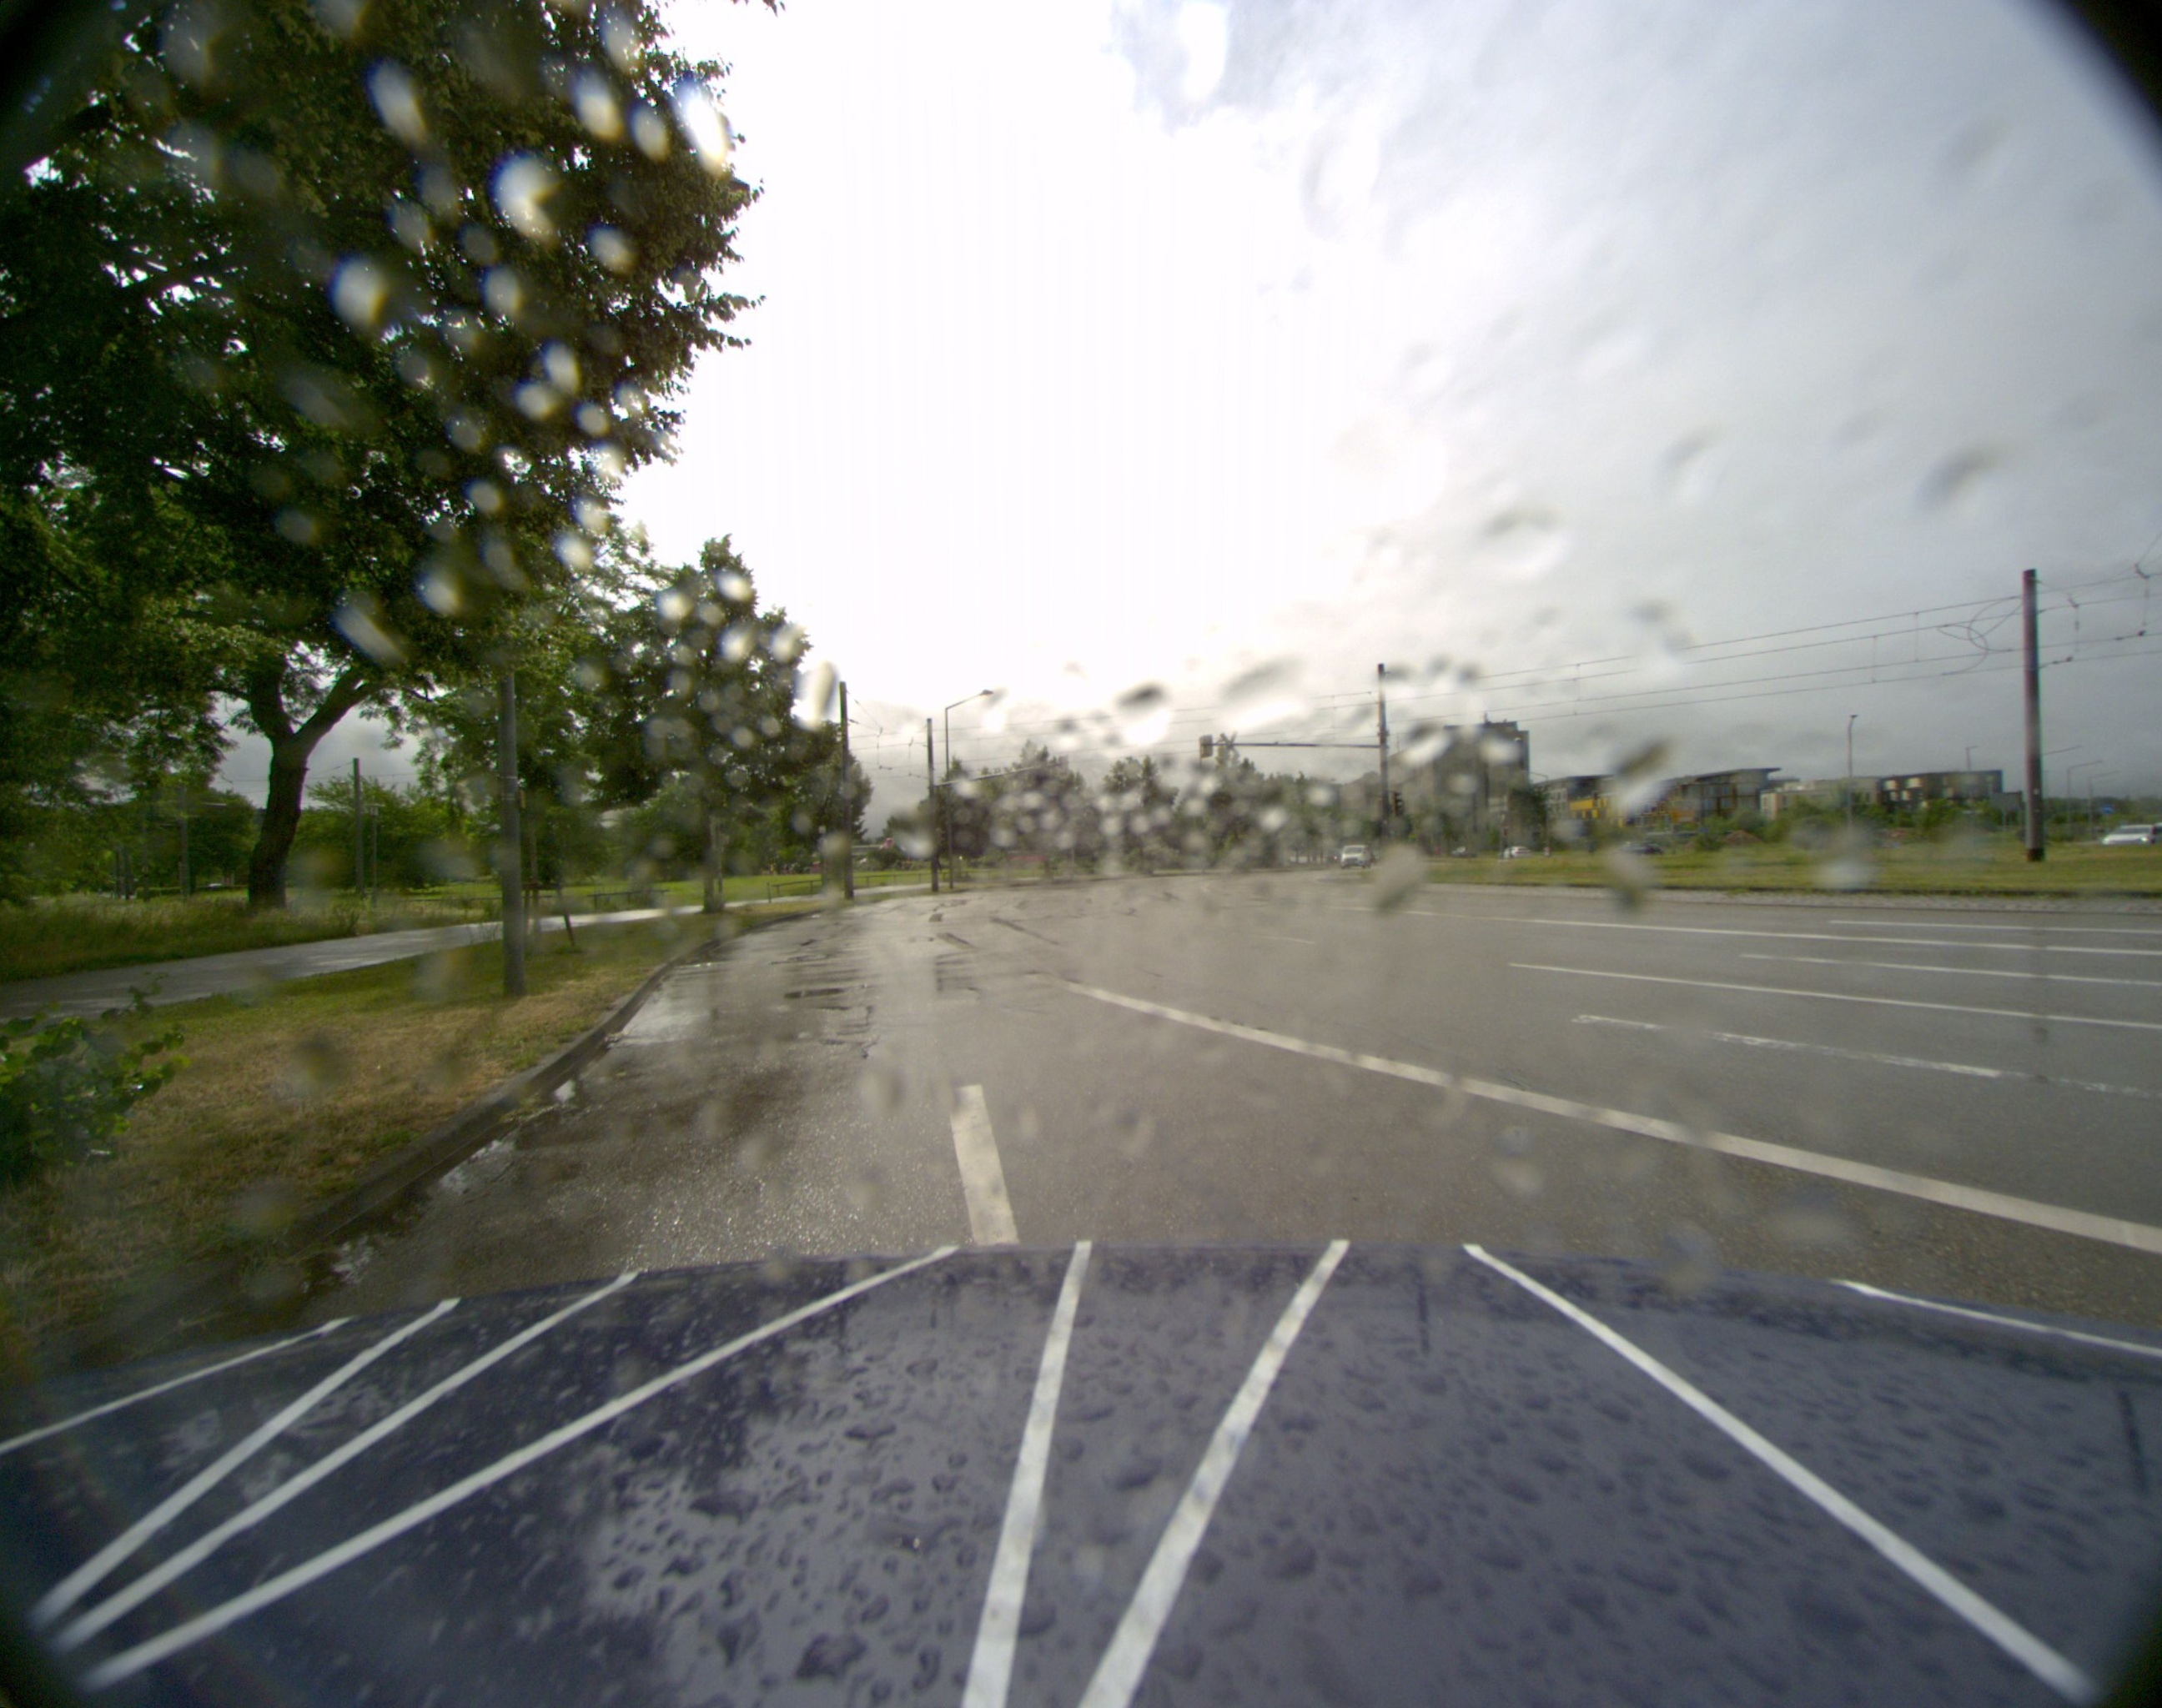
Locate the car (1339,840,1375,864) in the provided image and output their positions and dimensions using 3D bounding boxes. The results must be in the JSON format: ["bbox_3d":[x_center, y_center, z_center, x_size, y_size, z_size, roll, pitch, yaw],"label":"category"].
[{"bbox_3d":[24.130,-0.150,66.325,2.073,1.975,4.809,-1,0,29],"label":"car"}]

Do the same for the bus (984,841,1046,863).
[{"bbox_3d":[-12.020,-0.392,139.293,10.977,3.439,2.001,-3,-1,1],"label":"bus"}]

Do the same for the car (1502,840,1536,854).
[{"bbox_3d":[46.803,-0.749,81.322,1.725,1.499,3.906,-1,0,6],"label":"car"}]

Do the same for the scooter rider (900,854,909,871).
[{"bbox_3d":[-21.760,1.030,93.530,0.768,2.001,0.707,-4,-1,44],"label":"scooter rider"}]

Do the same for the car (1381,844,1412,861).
[{"bbox_3d":[30.828,-0.172,74.359,1.865,1.527,4.490,-1,1,9],"label":"car"}]

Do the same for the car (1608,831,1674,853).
[{"bbox_3d":[45.227,-0.955,61.443,1.869,1.662,3.813,-3,1,-28],"label":"car"}]

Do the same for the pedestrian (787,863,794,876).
[{"bbox_3d":[-38.427,2.083,100.486,0.598,1.721,0.606,-3,-1,6],"label":"pedestrian"}]

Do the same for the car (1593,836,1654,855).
[{"bbox_3d":[49.069,-0.781,68.854,1.867,1.662,4.465,-1,1,-11],"label":"car"}]

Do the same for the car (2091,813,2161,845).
[{"bbox_3d":[63.775,-1.496,46.054,4.003,1.805,1.873,-2,1,-18],"label":"car"}]

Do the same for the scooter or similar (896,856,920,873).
[{"bbox_3d":[-21.235,1.296,93.146,1.242,2.001,3.400,-2,-2,-43],"label":"scooter or similar"}]

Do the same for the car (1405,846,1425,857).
[{"bbox_3d":[48.888,-0.386,111.261,1.732,1.404,4.132,-2,-1,11],"label":"car"}]

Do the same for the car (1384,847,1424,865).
[{"bbox_3d":[26.348,0.164,62.147,1.865,1.372,4.555,-2,0,9],"label":"car"}]

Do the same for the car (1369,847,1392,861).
[{"bbox_3d":[33.522,-0.023,85.099,1.864,1.527,4.492,-1,1,15],"label":"car"}]

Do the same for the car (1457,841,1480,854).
[{"bbox_3d":[49.832,-0.810,97.804,1.872,1.653,4.489,-2,-1,16],"label":"car"}]

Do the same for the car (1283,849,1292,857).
[{"bbox_3d":[47.695,-0.134,175.584,1.872,1.653,4.490,2,-1,16],"label":"car"}]
